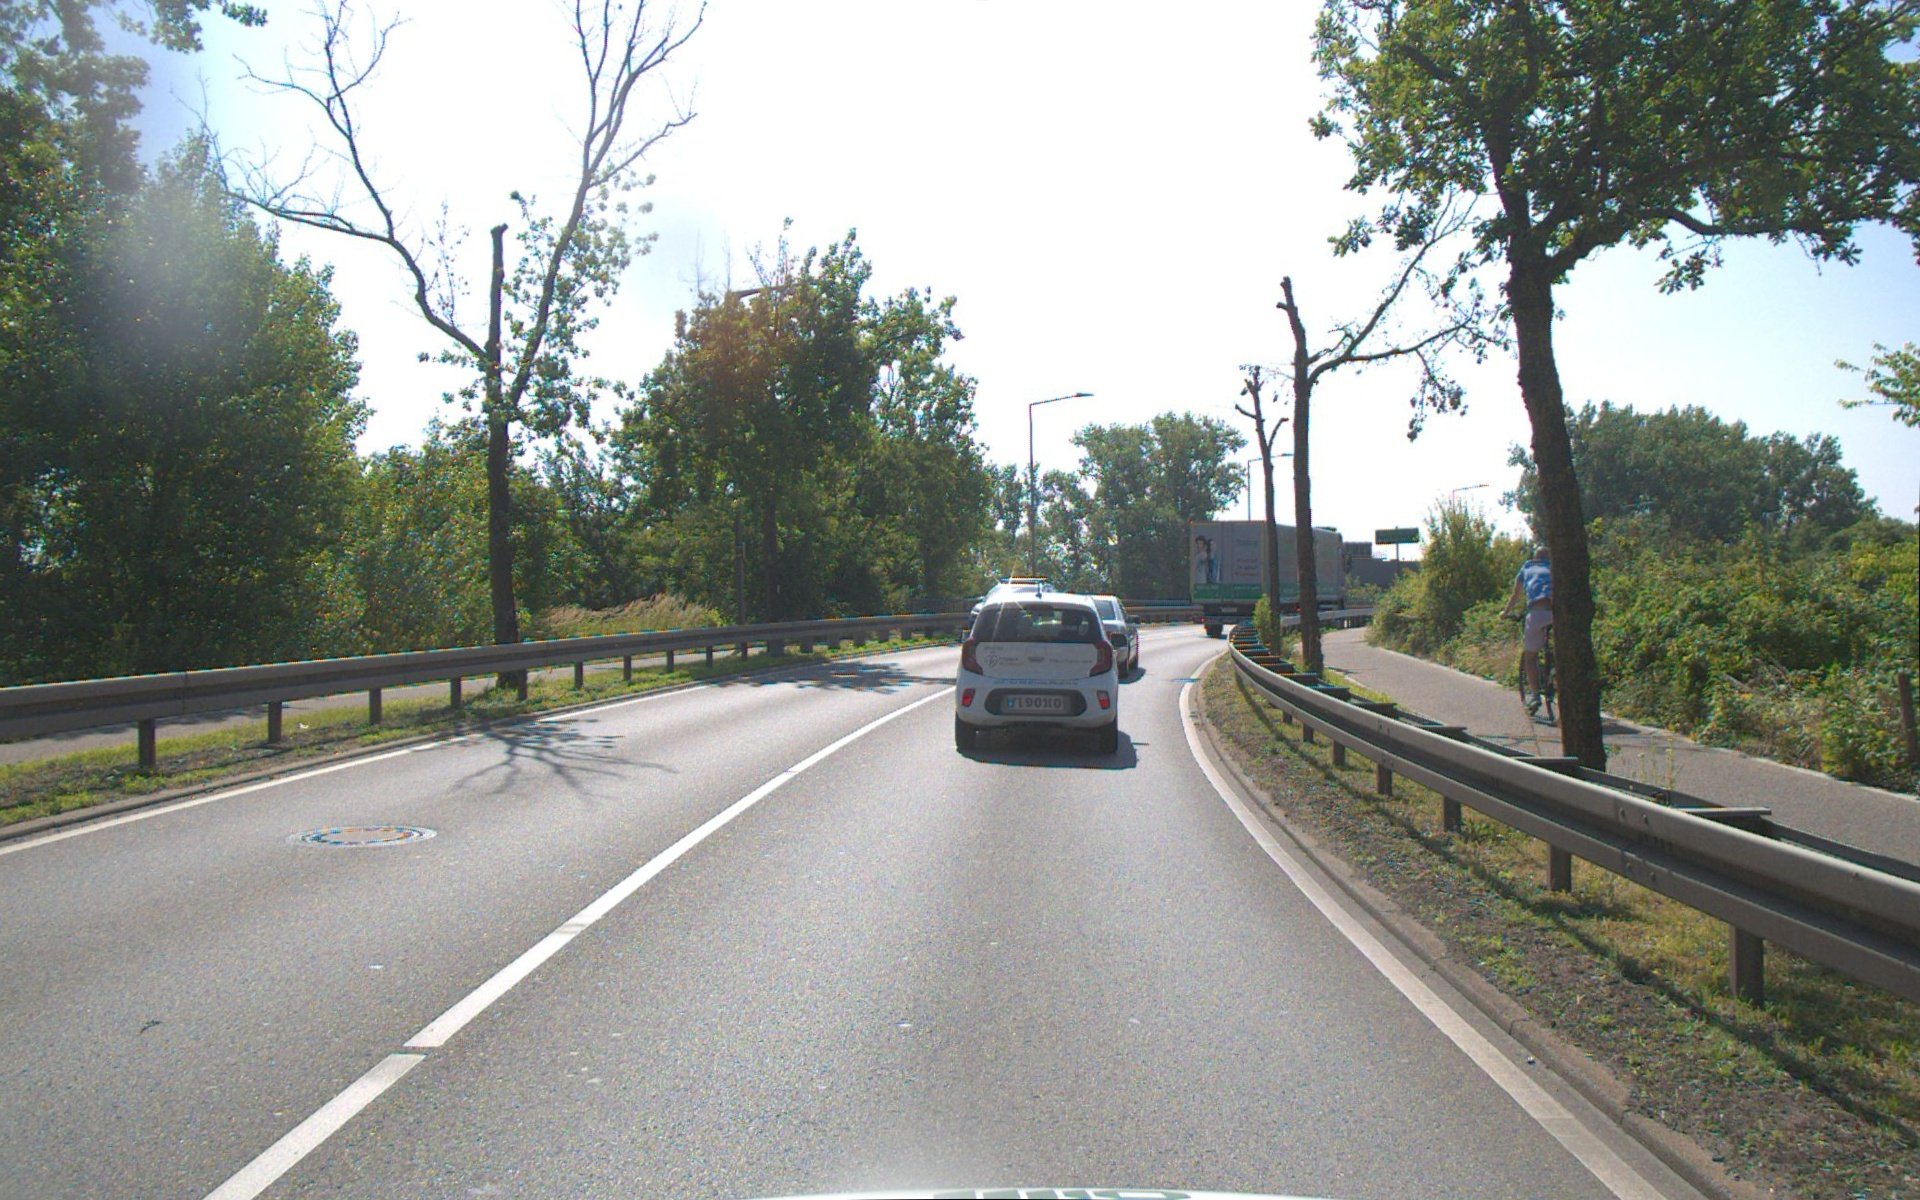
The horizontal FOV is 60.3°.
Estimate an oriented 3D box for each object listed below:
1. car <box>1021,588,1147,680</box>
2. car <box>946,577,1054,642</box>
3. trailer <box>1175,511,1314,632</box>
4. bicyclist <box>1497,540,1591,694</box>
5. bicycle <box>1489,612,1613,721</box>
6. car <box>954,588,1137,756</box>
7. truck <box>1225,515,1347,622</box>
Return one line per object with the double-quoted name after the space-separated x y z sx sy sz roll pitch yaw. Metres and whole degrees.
2.333 0.542 29.997 1.897 1.512 4.904 1 0 9 "car"
1.069 0.210 41.976 1.889 1.560 4.121 1 0 14 "car"
9.892 -1.058 56.802 3.158 3.823 7.826 2 2 21 "trailer"
6.127 0.180 17.387 0.644 1.546 0.803 -3 -1 4 "bicyclist"
6.129 0.674 17.258 0.687 1.037 1.846 -3 -1 4 "bicycle"
0.861 0.649 17.345 1.666 1.520 4.001 1 0 2 "car"
12.766 -1.288 64.222 3.193 3.823 8.372 2 2 21 "truck"
